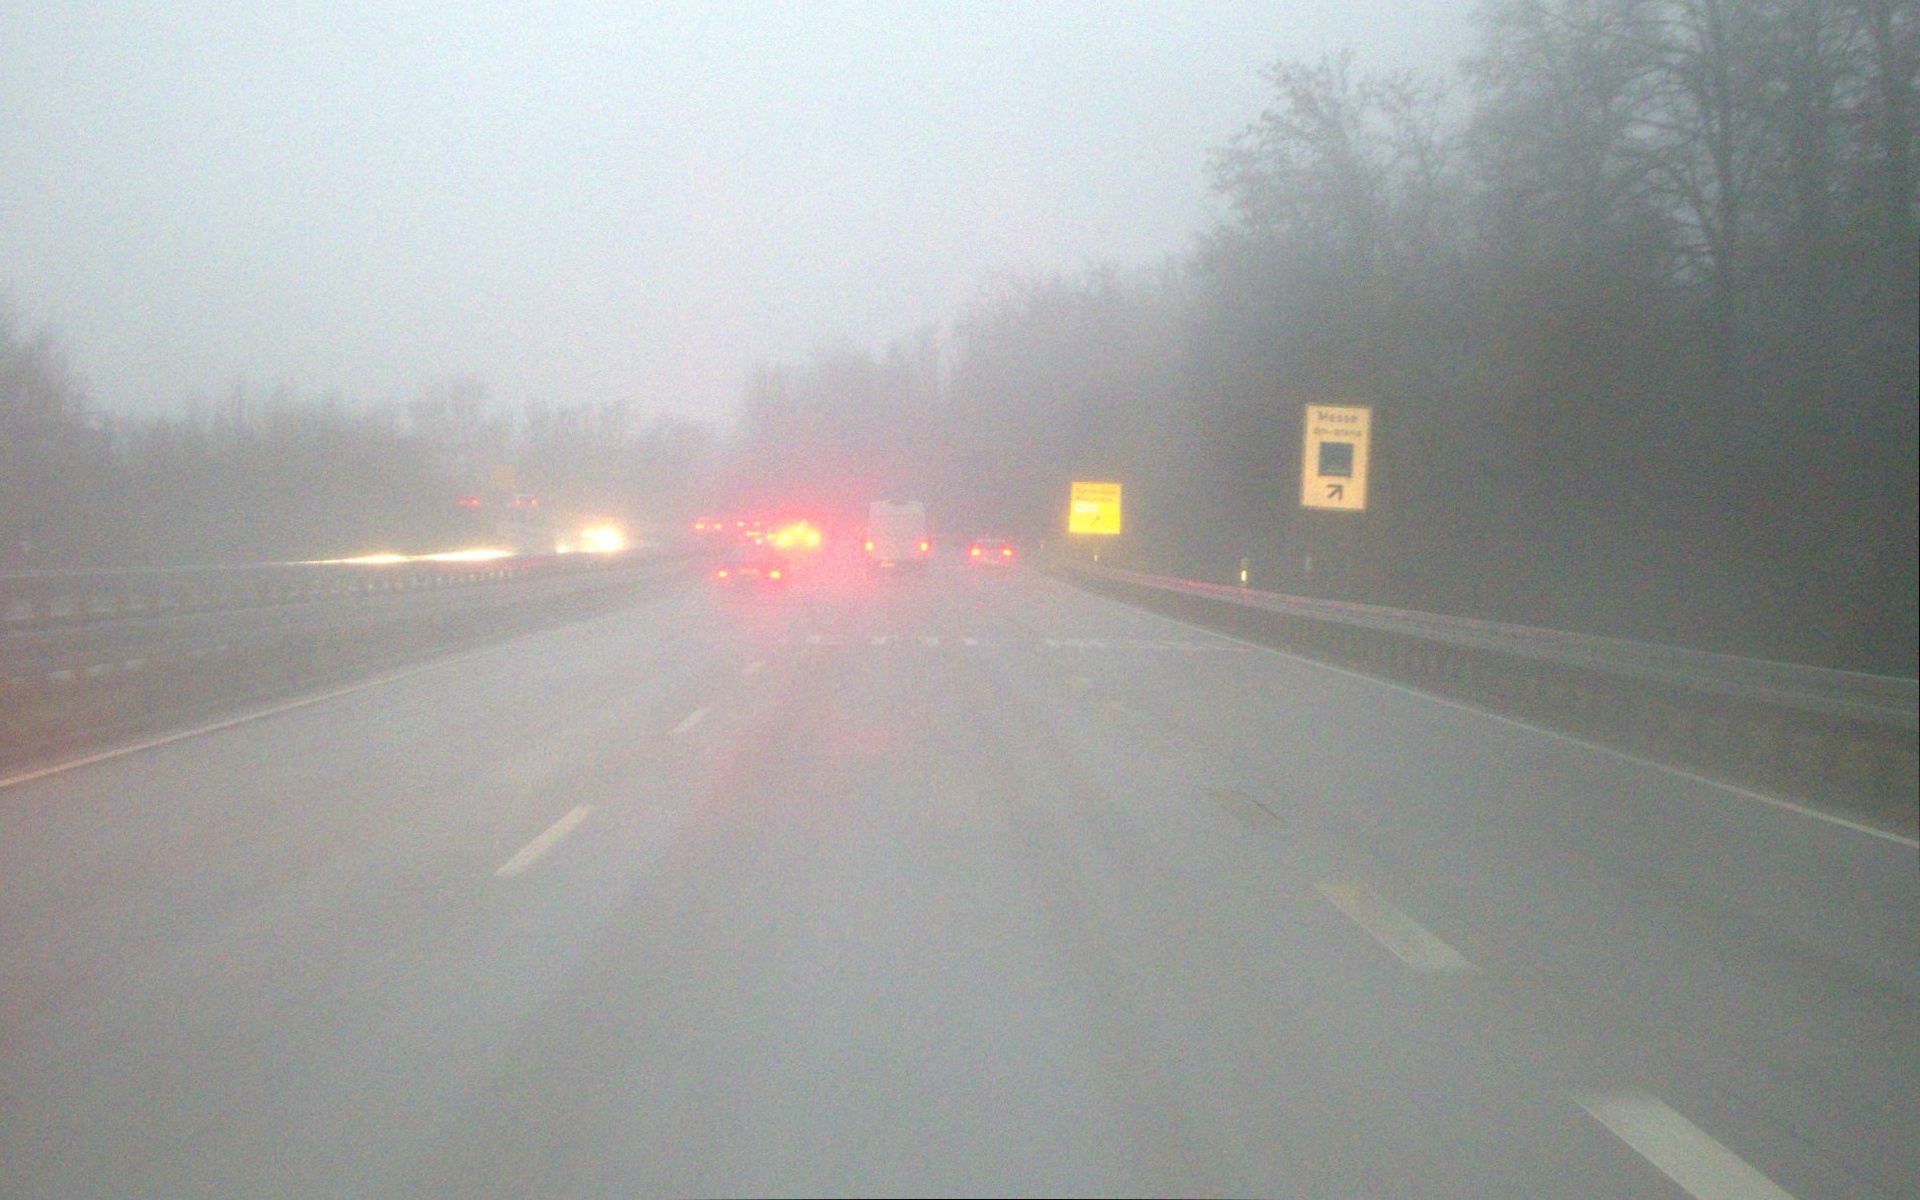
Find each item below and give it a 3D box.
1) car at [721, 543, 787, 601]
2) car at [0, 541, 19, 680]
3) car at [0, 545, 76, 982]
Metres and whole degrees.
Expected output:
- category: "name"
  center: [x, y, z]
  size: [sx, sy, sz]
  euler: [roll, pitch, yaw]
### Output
- category: "car"
  center: [-4.951, -0.697, 82.875]
  size: [1.416, 1.312, 3.083]
  euler: [2, 1, -1]
- category: "car"
  center: [-12.131, 0.140, 39.194]
  size: [1.740, 1.634, 4.000]
  euler: [0, 1, -1]
- category: "car"
  center: [-3.804, 0.503, 9.757]
  size: [1.625, 1.387, 4.000]
  euler: [2, 0, -2]
